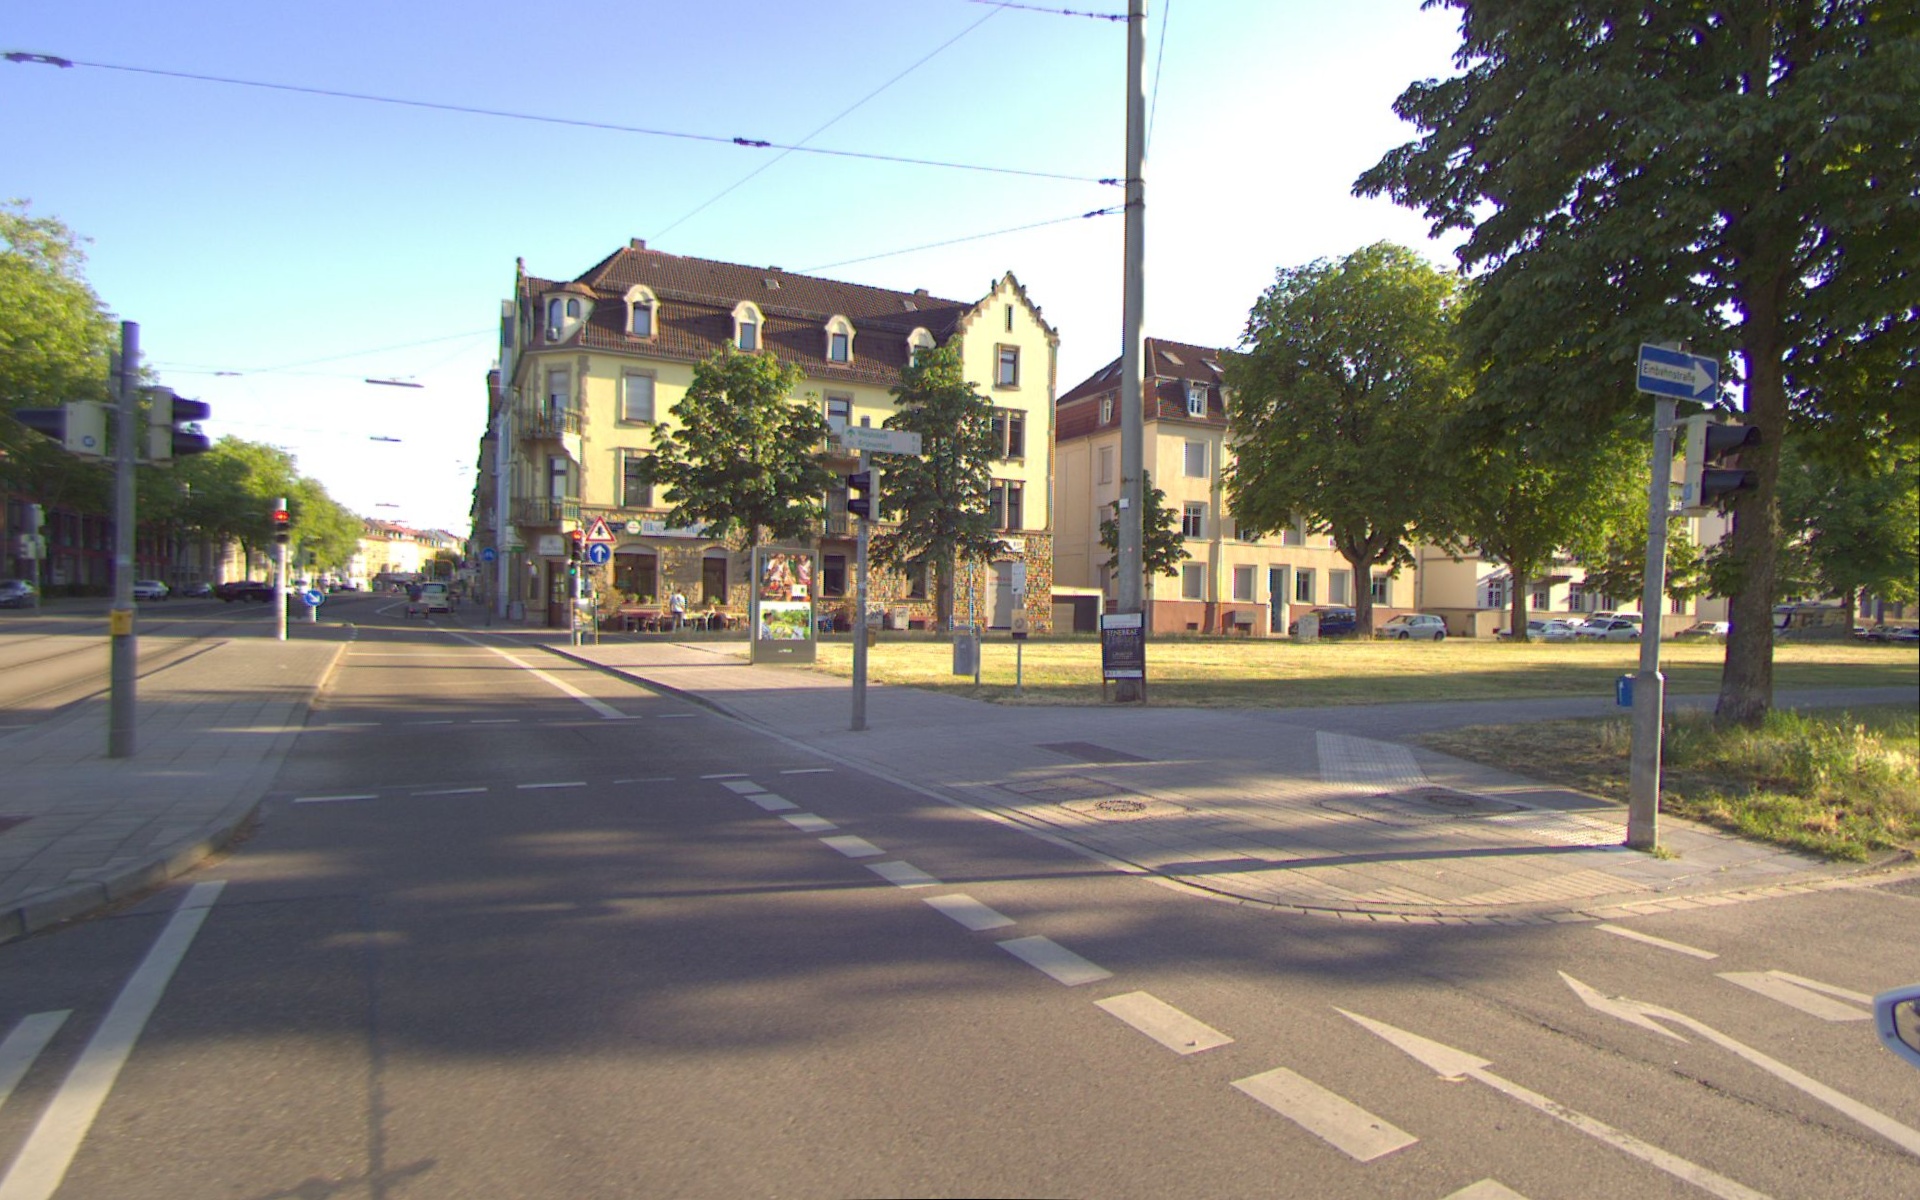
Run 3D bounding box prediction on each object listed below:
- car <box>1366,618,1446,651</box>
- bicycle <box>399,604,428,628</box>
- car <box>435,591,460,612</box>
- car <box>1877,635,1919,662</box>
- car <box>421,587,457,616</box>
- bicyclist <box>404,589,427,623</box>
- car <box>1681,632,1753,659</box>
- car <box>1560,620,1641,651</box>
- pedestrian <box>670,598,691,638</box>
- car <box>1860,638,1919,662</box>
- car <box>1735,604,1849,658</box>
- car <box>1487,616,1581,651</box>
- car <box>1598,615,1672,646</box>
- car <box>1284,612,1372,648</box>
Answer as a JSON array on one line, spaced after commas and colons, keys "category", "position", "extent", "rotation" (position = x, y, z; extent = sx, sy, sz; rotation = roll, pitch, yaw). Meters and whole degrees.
[{"category": "car", "position": [25.502, 1.962, 57.470], "extent": [3.944, 1.681, 1.988], "rotation": [2, 2, -24]}, {"category": "bicycle", "position": [-28.583, 0.820, 52.582], "extent": [0.862, 1.177, 3.070], "rotation": [1, -1, -20]}, {"category": "car", "position": [-47.313, 0.104, 92.772], "extent": [1.975, 1.694, 3.751], "rotation": [2, 2, -28]}, {"category": "car", "position": [67.060, 3.447, 70.917], "extent": [4.256, 1.696, 1.874], "rotation": [2, 2, -25]}, {"category": "car", "position": [-34.627, 0.083, 66.743], "extent": [2.006, 1.760, 3.751], "rotation": [2, 2, -28]}, {"category": "bicyclist", "position": [-28.692, 0.297, 52.914], "extent": [0.862, 1.746, 1.143], "rotation": [1, -1, -20]}, {"category": "car", "position": [52.634, 3.182, 69.866], "extent": [4.506, 1.681, 1.988], "rotation": [2, 2, -24]}, {"category": "car", "position": [35.738, 1.950, 56.038], "extent": [4.362, 1.575, 1.789], "rotation": [0, 3, -27]}, {"category": "pedestrian", "position": [-11.605, 0.743, 41.673], "extent": [0.674, 1.646, 0.613], "rotation": [1, 2, -27]}, {"category": "car", "position": [74.022, 3.953, 79.884], "extent": [4.313, 1.681, 1.988], "rotation": [2, 2, -24]}, {"category": "car", "position": [53.262, 1.945, 64.260], "extent": [7.746, 3.173, 2.384], "rotation": [1, 3, -25]}, {"category": "car", "position": [30.653, 1.778, 53.636], "extent": [4.506, 1.681, 1.988], "rotation": [2, 2, -24]}, {"category": "car", "position": [45.231, 2.054, 67.331], "extent": [4.814, 1.976, 1.986], "rotation": [2, 0, -27]}, {"category": "car", "position": [20.020, 1.616, 54.678], "extent": [4.251, 1.759, 1.988], "rotation": [2, 2, -24]}]
